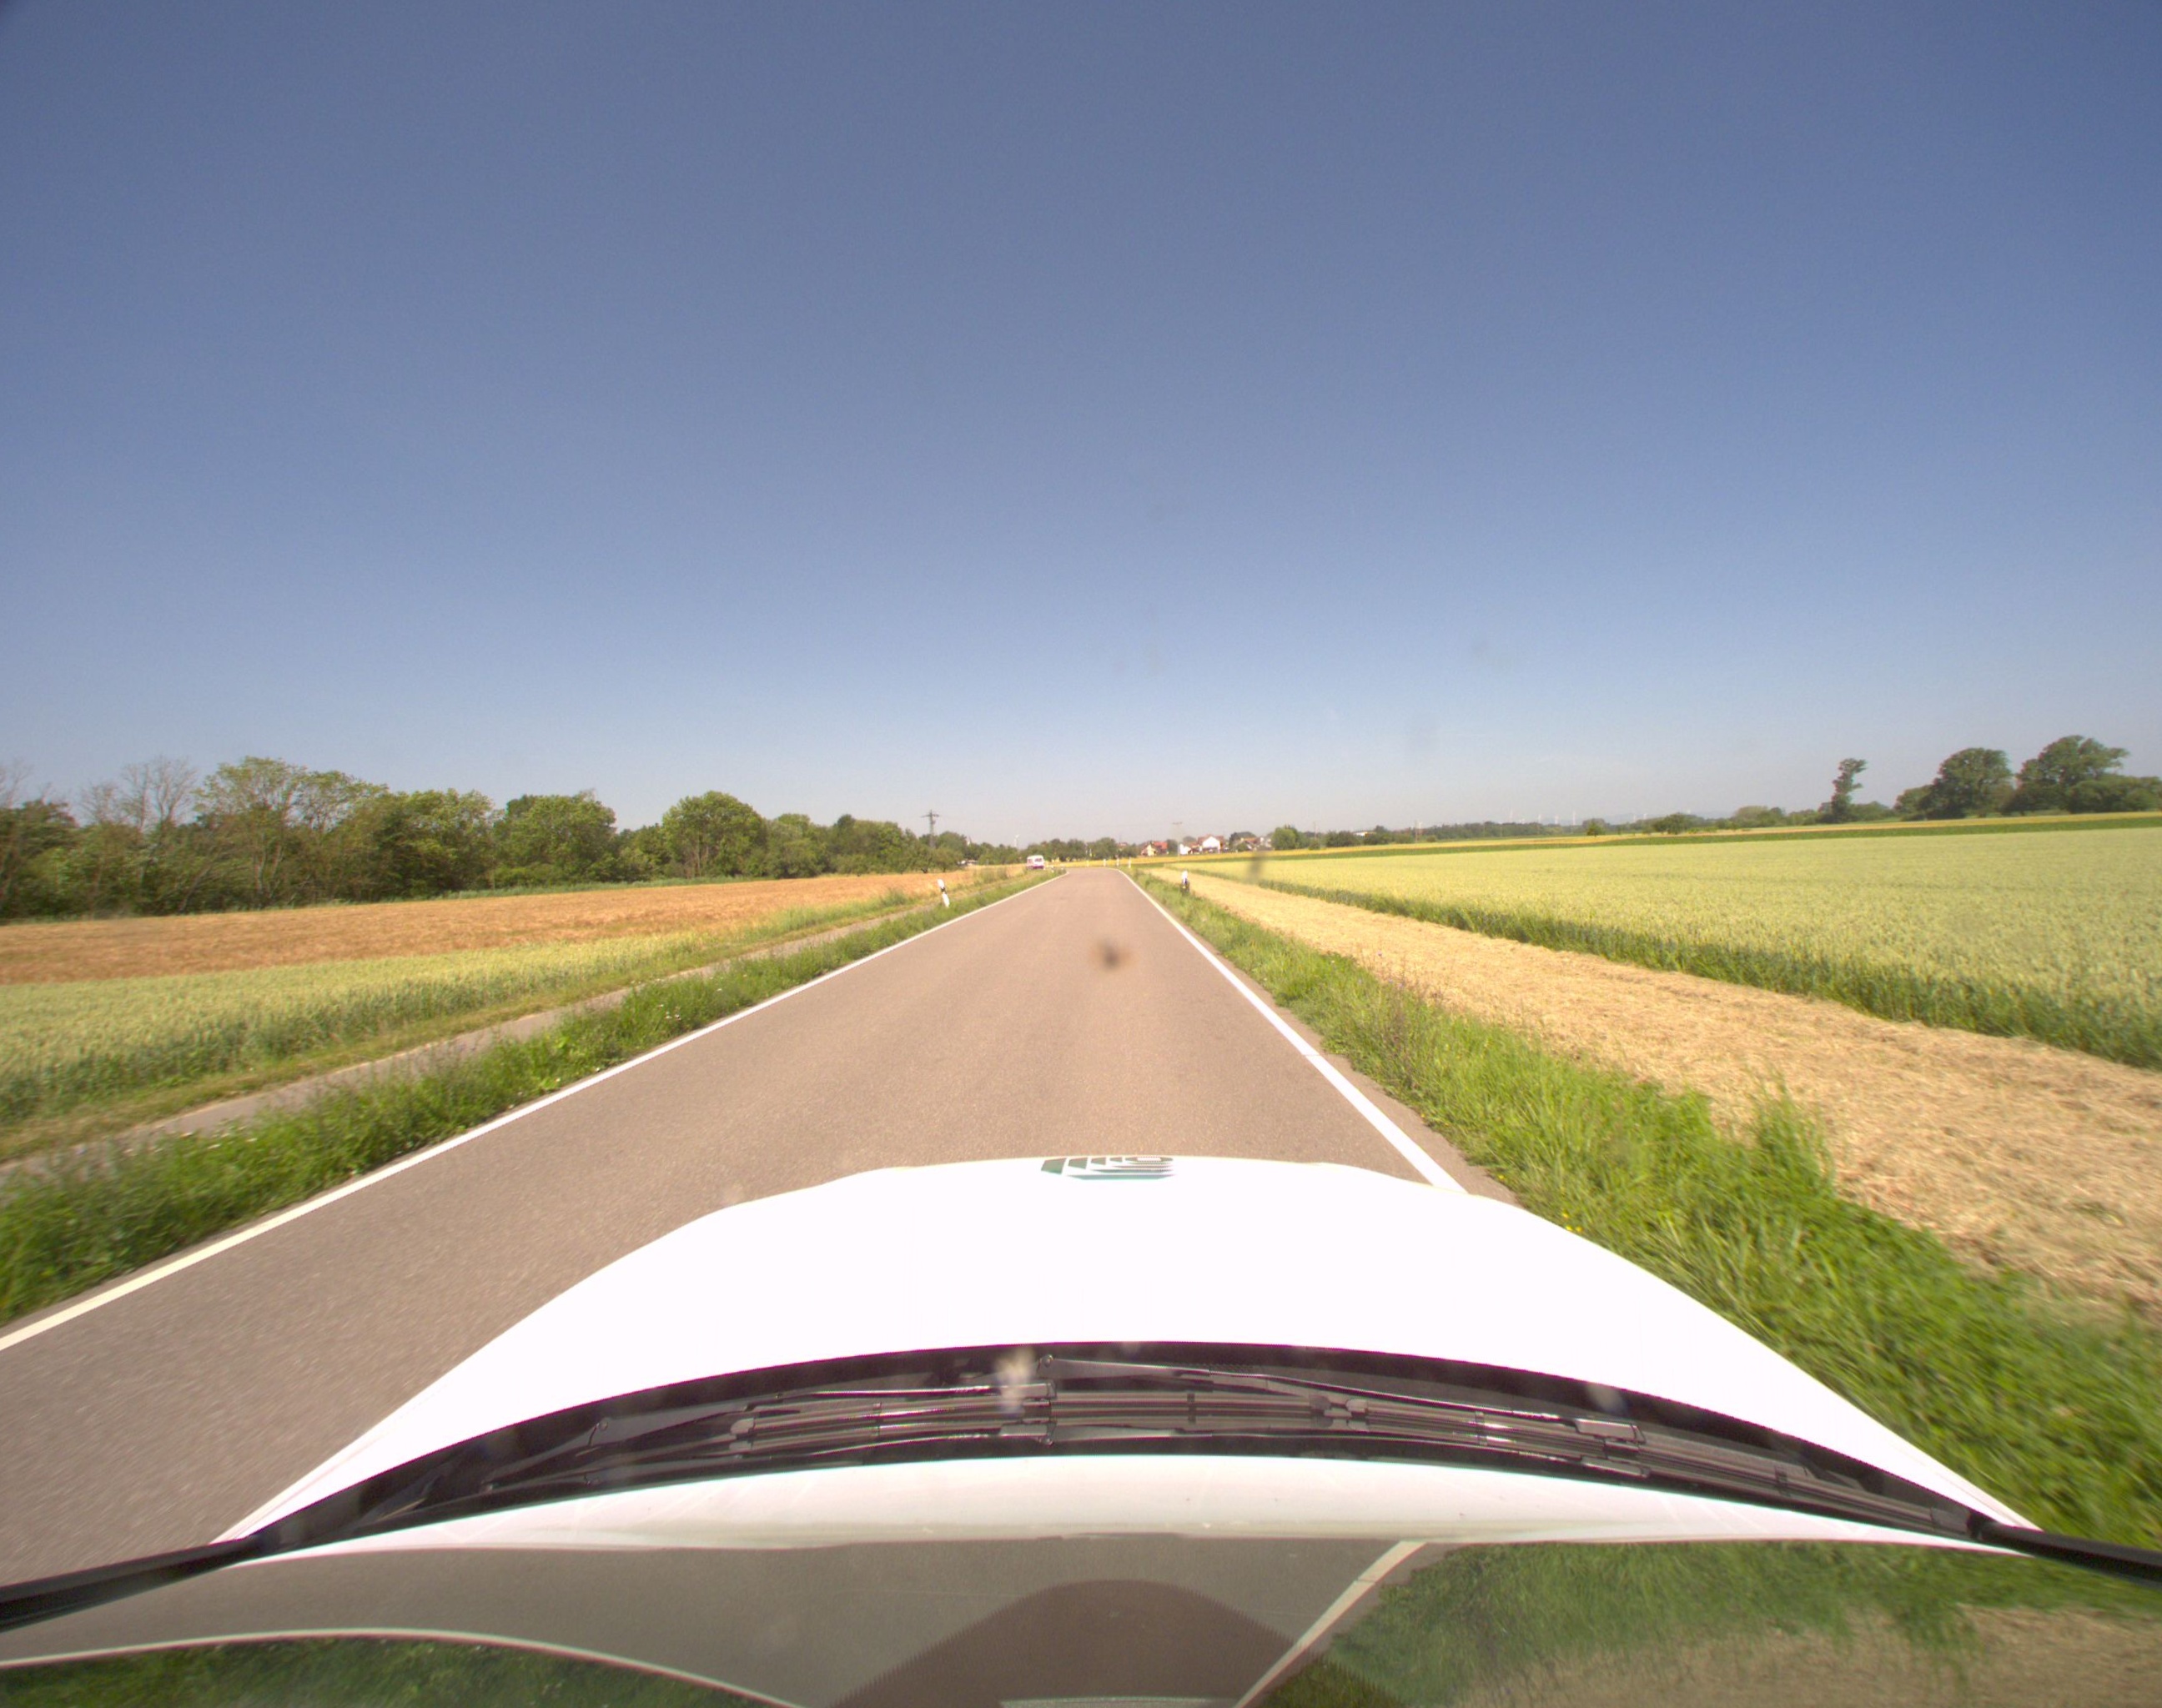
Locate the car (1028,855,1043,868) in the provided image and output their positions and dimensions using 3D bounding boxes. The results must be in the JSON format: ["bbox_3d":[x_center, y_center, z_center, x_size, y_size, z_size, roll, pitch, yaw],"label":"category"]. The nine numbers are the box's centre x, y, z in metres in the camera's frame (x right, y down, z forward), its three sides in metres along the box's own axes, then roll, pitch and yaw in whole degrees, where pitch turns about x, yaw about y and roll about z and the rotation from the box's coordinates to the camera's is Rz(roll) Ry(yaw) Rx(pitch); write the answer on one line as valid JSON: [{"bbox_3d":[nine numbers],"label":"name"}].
[{"bbox_3d":[-8.208,1.335,146.999,2.106,2.304,5.479,-1,0,-8],"label":"car"}]
